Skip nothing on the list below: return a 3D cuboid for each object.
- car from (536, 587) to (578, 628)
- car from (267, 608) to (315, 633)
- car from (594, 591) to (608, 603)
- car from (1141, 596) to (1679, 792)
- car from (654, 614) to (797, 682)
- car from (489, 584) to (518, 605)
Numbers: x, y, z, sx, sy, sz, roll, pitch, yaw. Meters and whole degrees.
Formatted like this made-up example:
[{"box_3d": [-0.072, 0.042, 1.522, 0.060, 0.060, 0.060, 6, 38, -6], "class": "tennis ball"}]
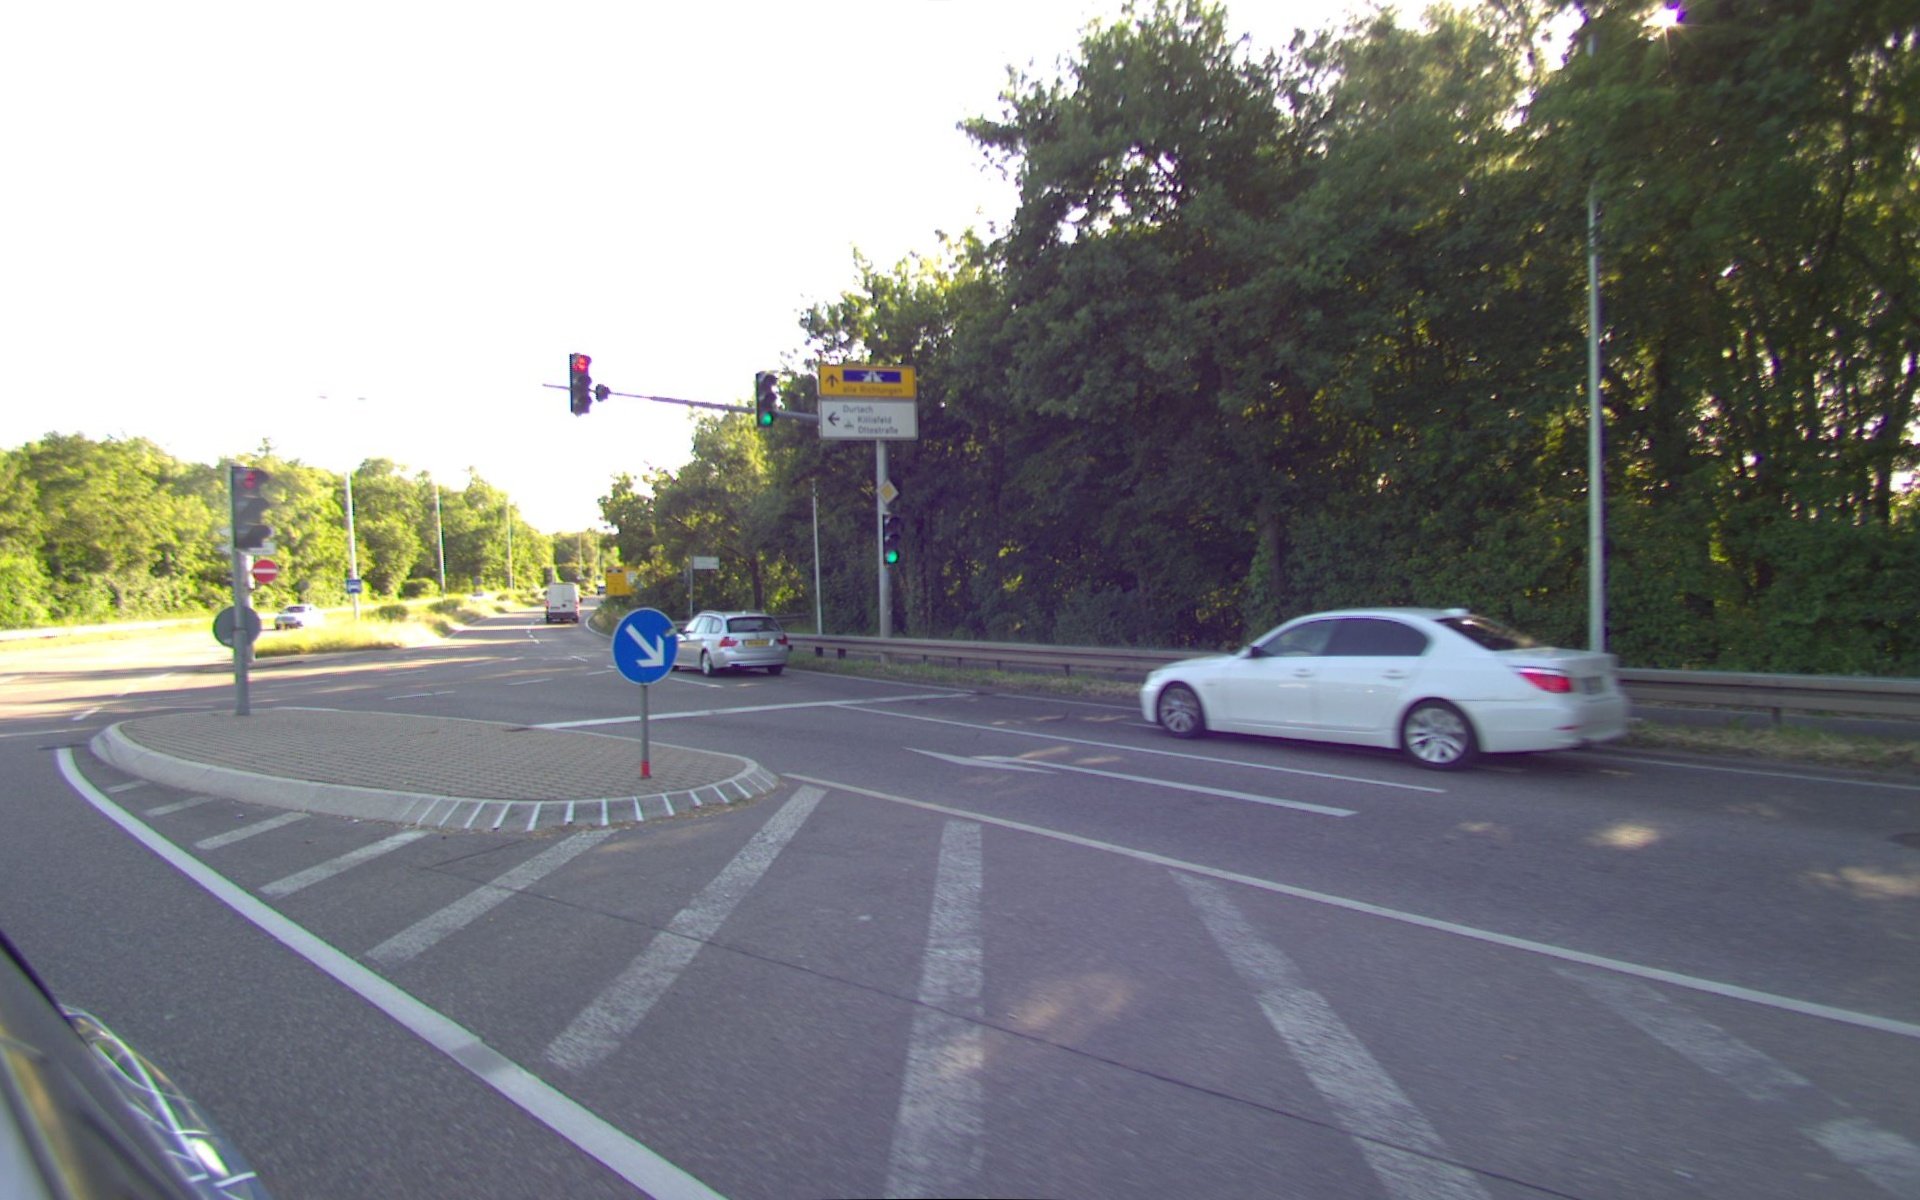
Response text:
[{"box_3d": [-26.448, 0.484, 66.284, 2.231, 2.572, 6.419, 0, -1, -24], "class": "car"}, {"box_3d": [-41.327, 1.256, 62.638, 1.735, 1.447, 4.344, -1, 0, -24], "class": "car"}, {"box_3d": [-53.040, -0.438, 149.728, 1.885, 1.673, 4.013, -1, 0, -19], "class": "car"}, {"box_3d": [4.215, 0.749, 10.217, 1.824, 1.499, 4.638, -1, 0, -39], "class": "car"}, {"box_3d": [-5.473, 1.022, 23.201, 1.678, 1.400, 4.539, 1, -1, -34], "class": "car"}, {"box_3d": [-43.756, -0.514, 97.106, 1.966, 2.029, 4.011, -1, 0, -15], "class": "car"}]
